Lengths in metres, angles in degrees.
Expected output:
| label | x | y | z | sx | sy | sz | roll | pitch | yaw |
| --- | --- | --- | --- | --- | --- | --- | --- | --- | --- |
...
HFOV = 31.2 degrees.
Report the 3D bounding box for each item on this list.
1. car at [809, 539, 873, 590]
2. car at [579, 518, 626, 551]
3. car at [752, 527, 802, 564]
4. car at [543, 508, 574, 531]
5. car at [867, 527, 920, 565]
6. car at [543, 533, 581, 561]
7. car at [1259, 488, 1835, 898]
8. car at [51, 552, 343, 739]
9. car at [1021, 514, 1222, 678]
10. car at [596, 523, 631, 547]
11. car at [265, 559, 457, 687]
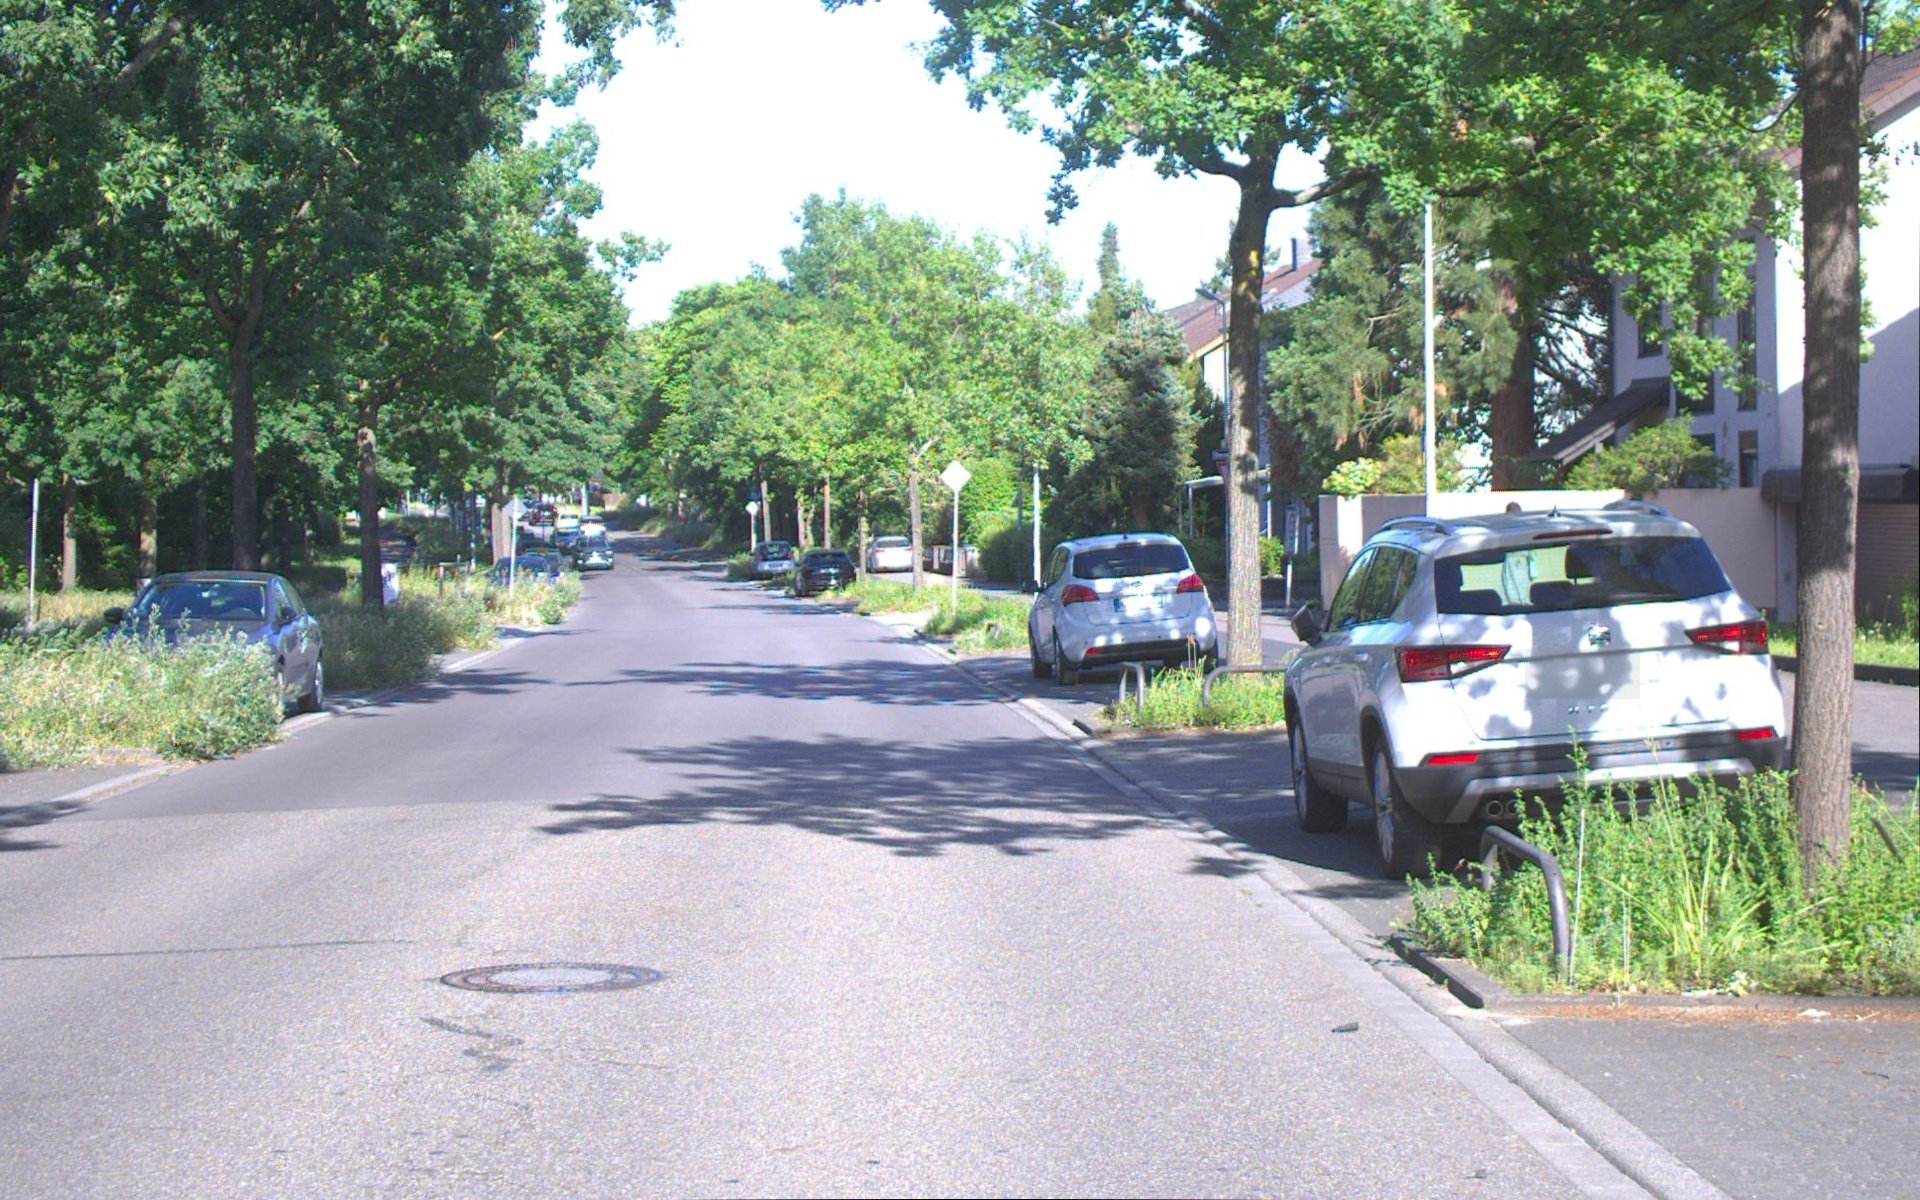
| label | x | y | z | sx | sy | sz | roll | pitch | yaw |
| --- | --- | --- | --- | --- | --- | --- | --- | --- | --- |
| car | -3.739 | -1.141 | 108.058 | 1.933 | 1.537 | 4.000 | -1 | 1 | -2 |
| car | -16.275 | -2.954 | 156.369 | 1.933 | 1.449 | 4.001 | -1 | 1 | -8 |
| car | -7.266 | -2.170 | 136.554 | 1.933 | 1.449 | 4.001 | -1 | 1 | -3 |
| car | -26.389 | -5.281 | 225.789 | 1.755 | 1.449 | 4.001 | -1 | 1 | -3 |
| car | -2.608 | -2.107 | 134.050 | 1.933 | 1.449 | 4.001 | -1 | 1 | -3 |
| car | -21.115 | -2.820 | 182.370 | 1.755 | 1.449 | 4.001 | -1 | 1 | -3 |
| car | 2.663 | 0.356 | 16.544 | 1.935 | 1.698 | 4.000 | -1 | 1 | -2 |
| car | -6.759 | 0.354 | 30.868 | 1.993 | 1.551 | 4.001 | 0 | 1 | -4 |
| car | 1.785 | -0.074 | 39.119 | 1.933 | 1.736 | 4.000 | -1 | 1 | -2 |
| car | -21.515 | -4.016 | 213.720 | 1.933 | 1.449 | 4.001 | -1 | 1 | -3 |
| car | -7.420 | 0.251 | 42.871 | 1.796 | 1.474 | 3.520 | -1 | 1 | -1 |
